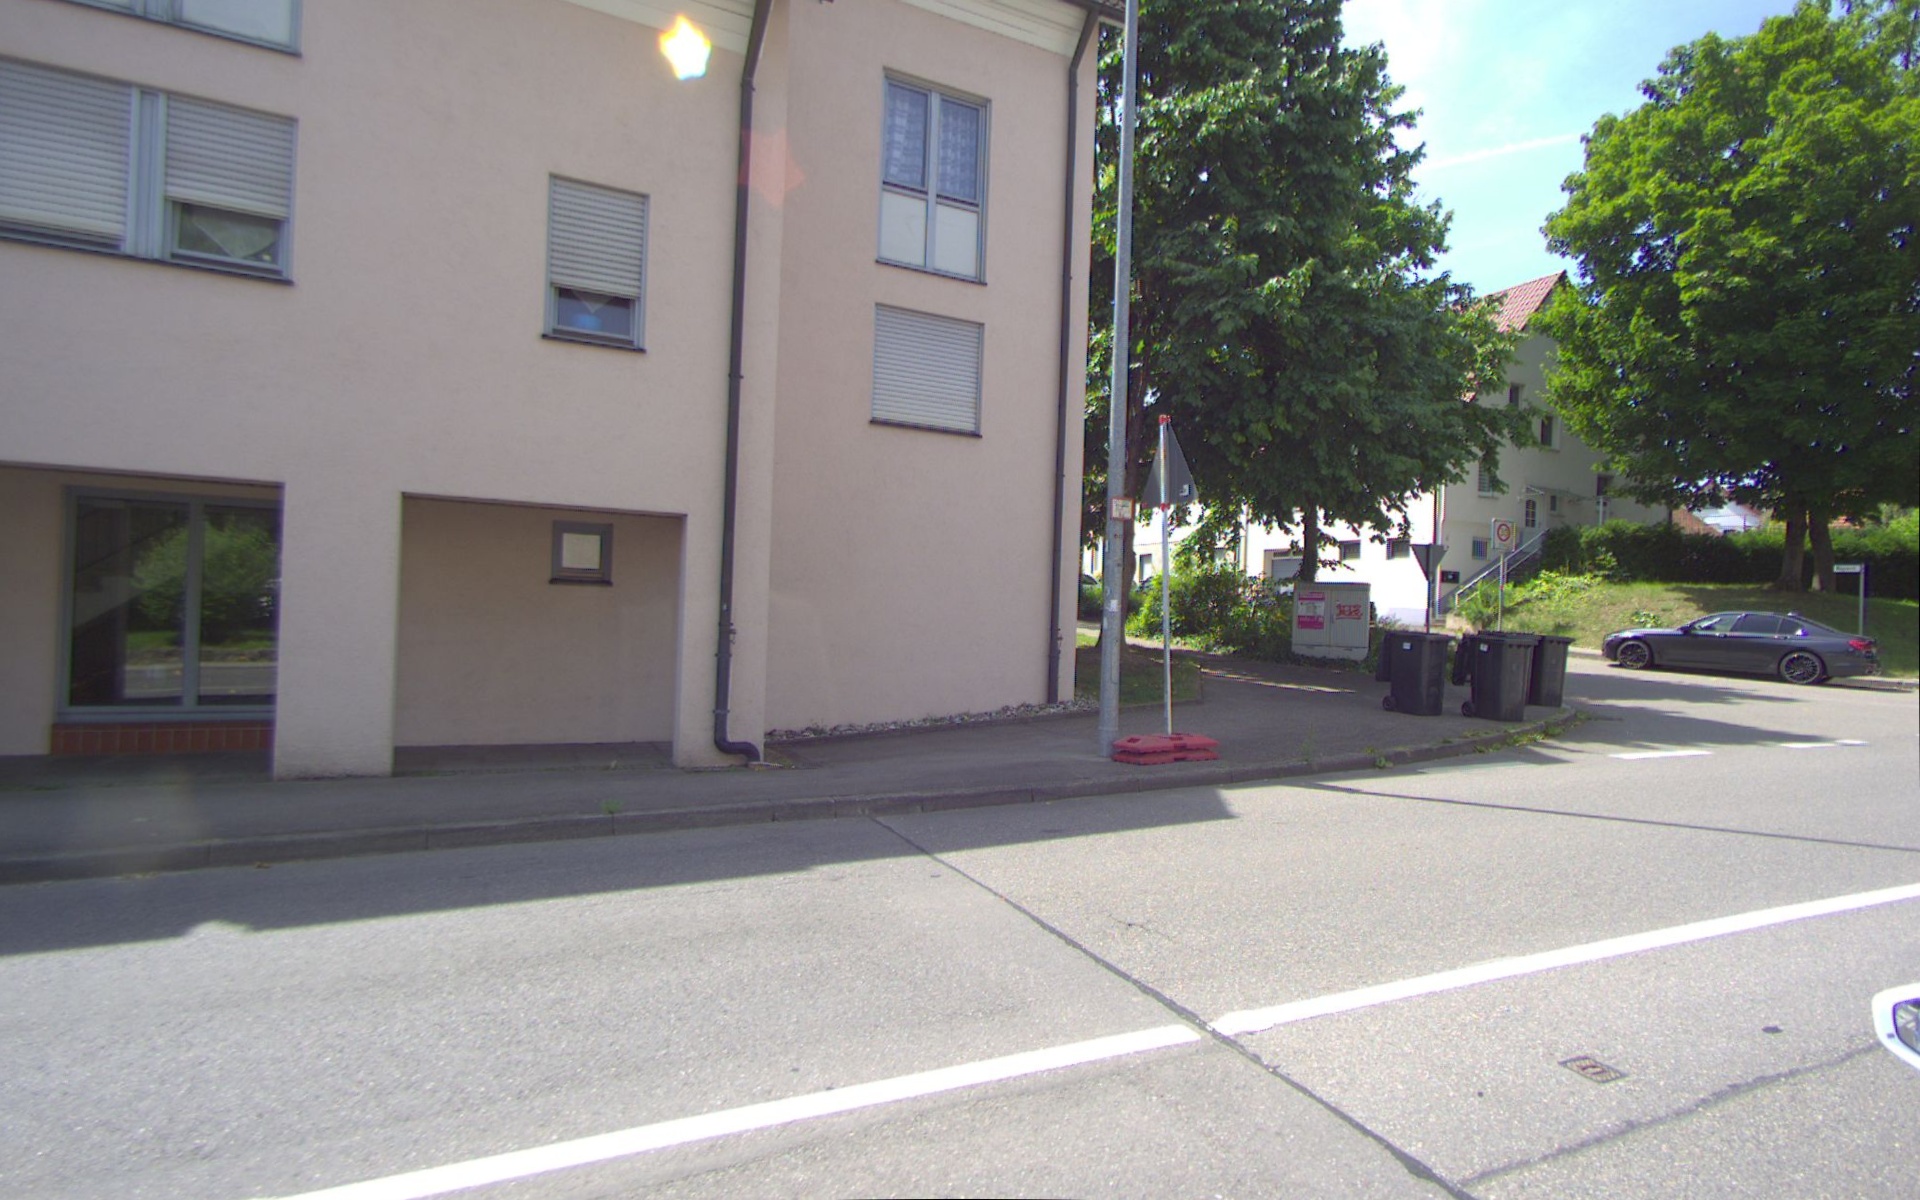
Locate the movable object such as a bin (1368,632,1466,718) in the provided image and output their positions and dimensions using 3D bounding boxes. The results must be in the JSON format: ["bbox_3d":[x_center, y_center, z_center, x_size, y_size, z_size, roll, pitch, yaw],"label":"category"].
[{"bbox_3d":[5.884,0.951,12.949,0.793,1.014,0.799,1,2,-22],"label":"movable object such as a bin"}]

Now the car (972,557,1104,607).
[{"bbox_3d":[2.659,-0.583,34.397,4.089,1.588,1.988,1,0,-24],"label":"car"}]

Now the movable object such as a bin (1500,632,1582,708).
[{"bbox_3d":[8.486,1.014,14.695,0.600,1.014,0.770,3,3,-21],"label":"movable object such as a bin"}]

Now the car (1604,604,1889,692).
[{"bbox_3d":[17.525,0.986,22.584,1.985,1.499,4.731,1,3,-42],"label":"car"}]

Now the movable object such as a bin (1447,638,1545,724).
[{"bbox_3d":[6.754,0.998,12.685,0.684,1.013,0.850,1,0,-22],"label":"movable object such as a bin"}]

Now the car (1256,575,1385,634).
[{"bbox_3d":[11.860,0.104,33.348,1.880,1.707,3.980,1,3,-20],"label":"car"}]

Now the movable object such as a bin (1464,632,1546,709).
[{"bbox_3d":[7.883,1.009,14.540,0.600,1.014,0.770,3,3,-22],"label":"movable object such as a bin"}]
